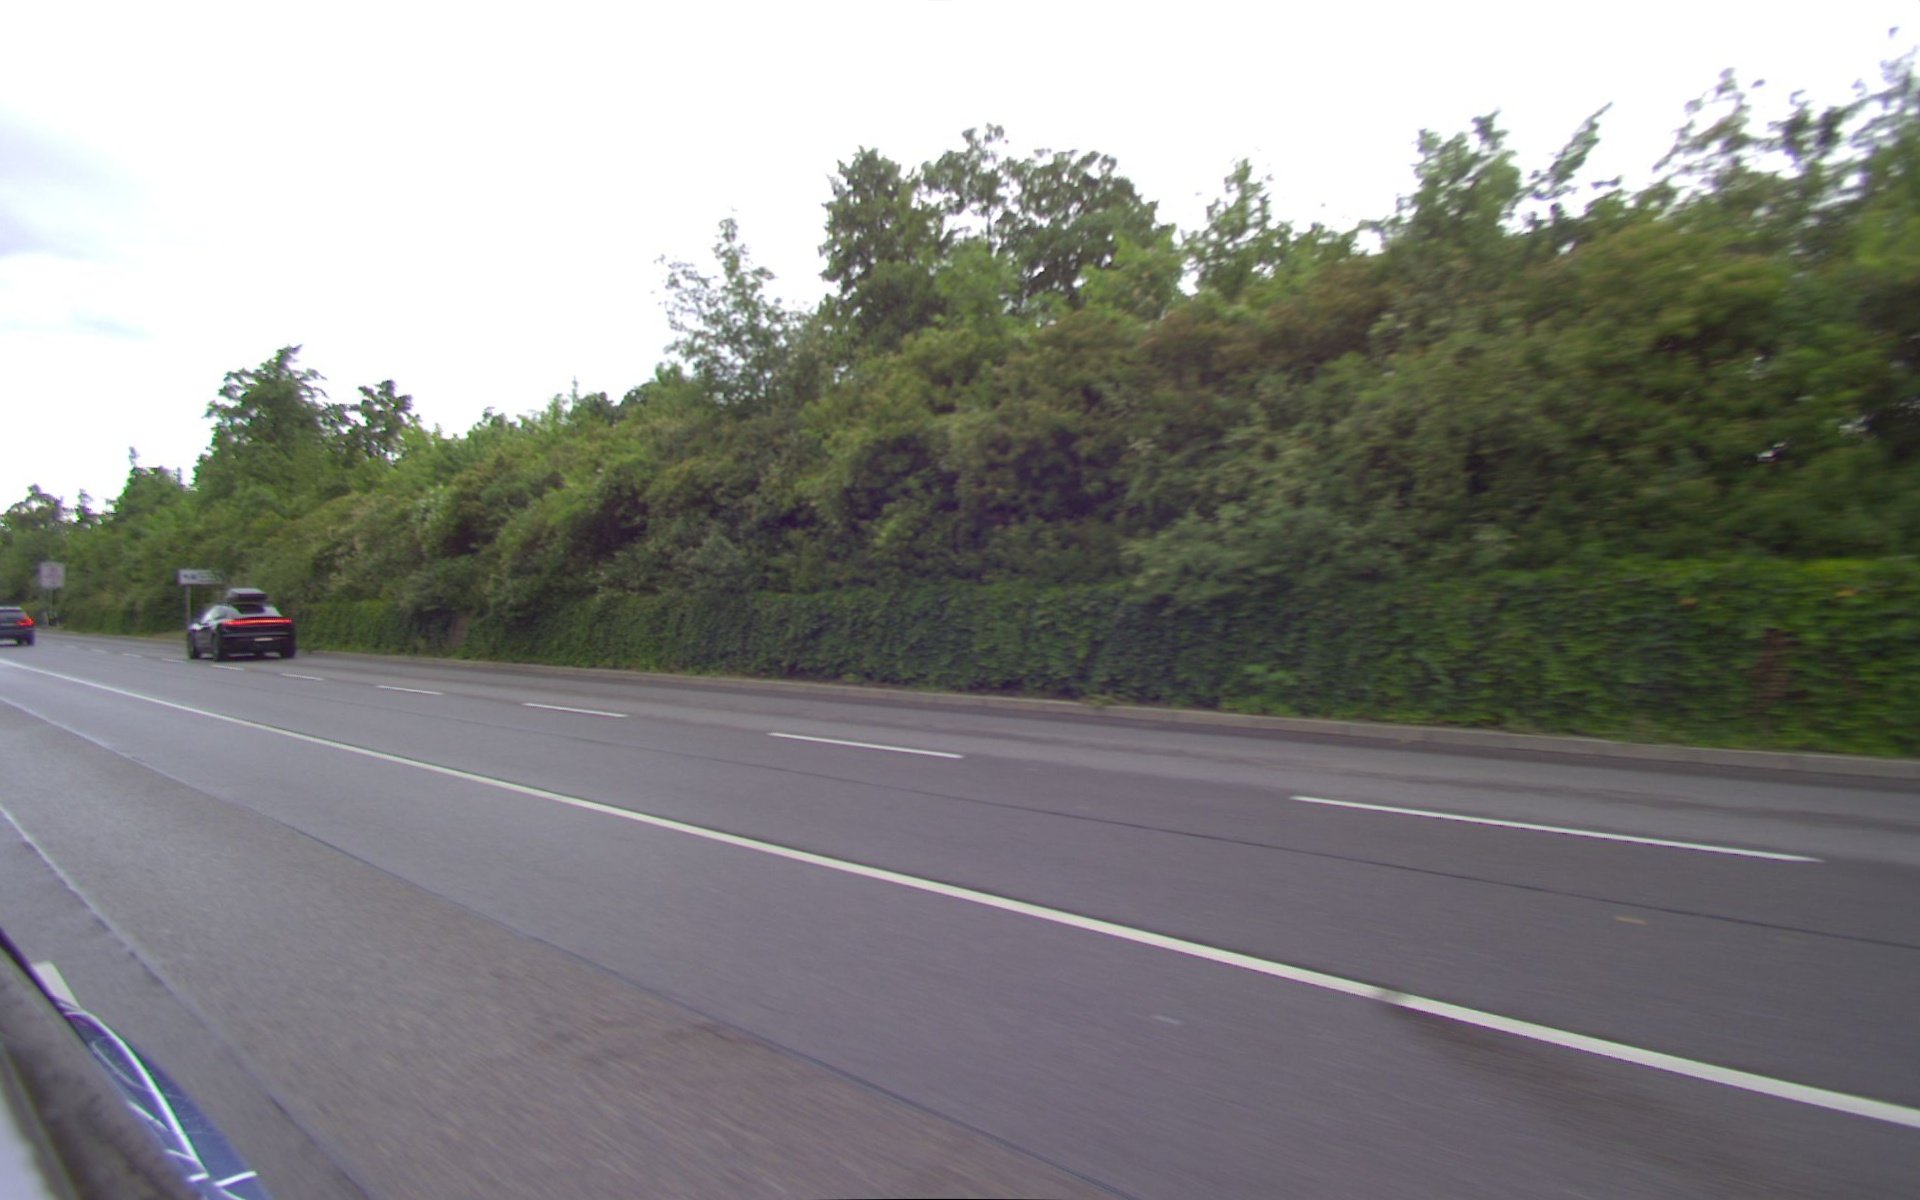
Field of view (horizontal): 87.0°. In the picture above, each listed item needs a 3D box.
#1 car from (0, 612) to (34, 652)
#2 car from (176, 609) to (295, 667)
[{"bbox_3d":[-42.121,1.392,44.308,4.592,1.670,1.793,-1,0,41],"label":"car"},{"bbox_3d":[-21.601,1.081,30.103,4.629,1.564,1.879,-1,1,42],"label":"car"}]
